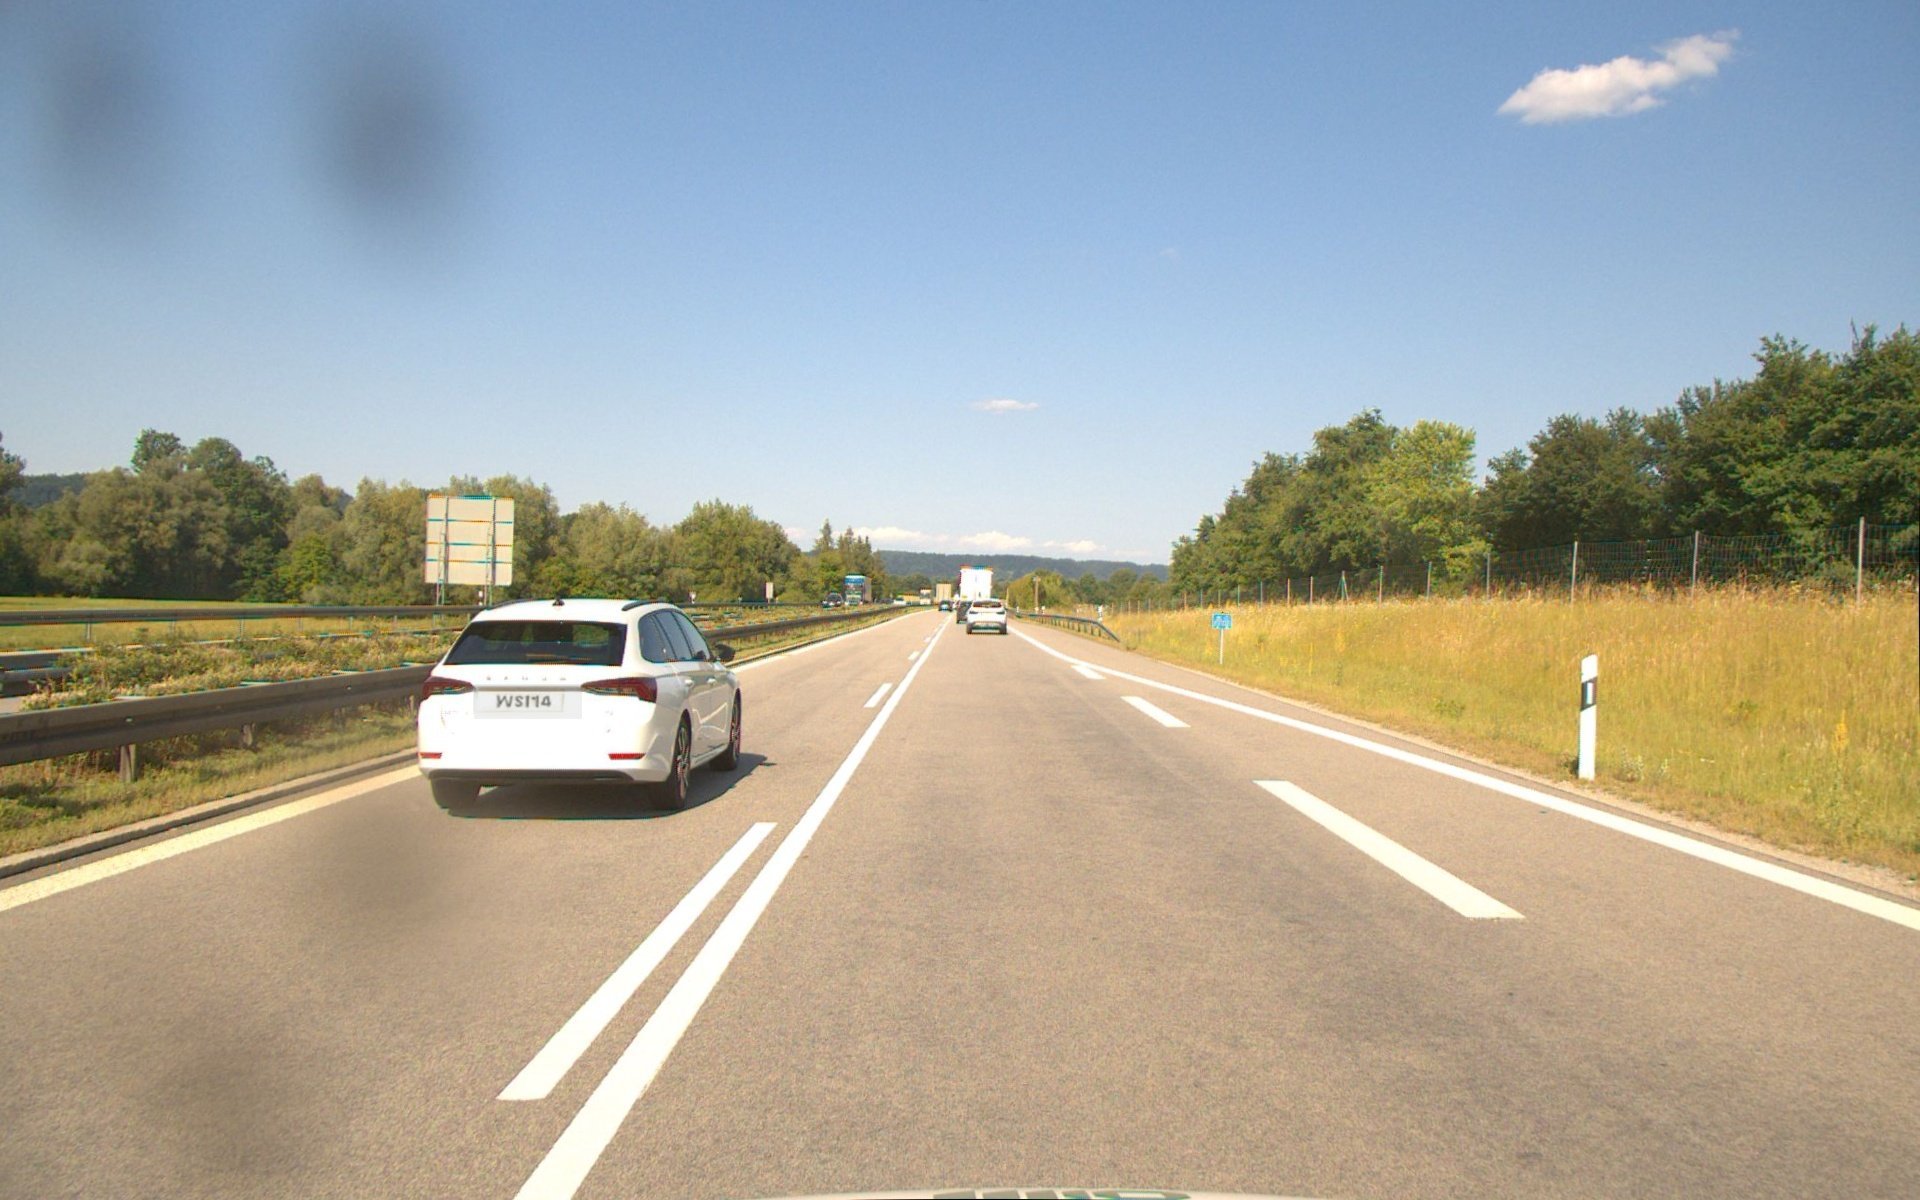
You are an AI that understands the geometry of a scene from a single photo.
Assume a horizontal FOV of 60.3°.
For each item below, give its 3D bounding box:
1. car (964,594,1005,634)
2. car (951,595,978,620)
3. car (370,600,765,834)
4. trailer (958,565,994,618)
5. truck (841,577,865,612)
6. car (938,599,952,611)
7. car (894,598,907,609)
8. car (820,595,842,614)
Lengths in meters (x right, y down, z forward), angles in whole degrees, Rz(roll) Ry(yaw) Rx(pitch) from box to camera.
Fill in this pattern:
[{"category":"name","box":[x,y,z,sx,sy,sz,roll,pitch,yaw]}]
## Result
[{"category":"car","box":[1.064,0.580,73.075,1.650,1.521,4.987,4,1,0]},{"category":"car","box":[0.285,0.469,106.574,1.631,1.480,4.544,3,0,0]},{"category":"car","box":[-2.771,0.734,13.008,1.802,1.446,5.254,1,0,0]},{"category":"trailer","box":[1.375,-0.644,135.572,2.760,4.036,14.161,1,0,1]},{"category":"truck","box":[-13.700,-0.647,212.599,2.684,4.378,6.333,1,0,-1]},{"category":"car","box":[-1.977,0.694,217.344,1.735,1.446,4.495,3,0,1]},{"category":"car","box":[-9.046,0.553,251.592,1.953,1.694,4.633,0,0,-1]},{"category":"car","box":[-12.761,0.400,164.138,1.811,1.835,4.870,0,0,0]}]
